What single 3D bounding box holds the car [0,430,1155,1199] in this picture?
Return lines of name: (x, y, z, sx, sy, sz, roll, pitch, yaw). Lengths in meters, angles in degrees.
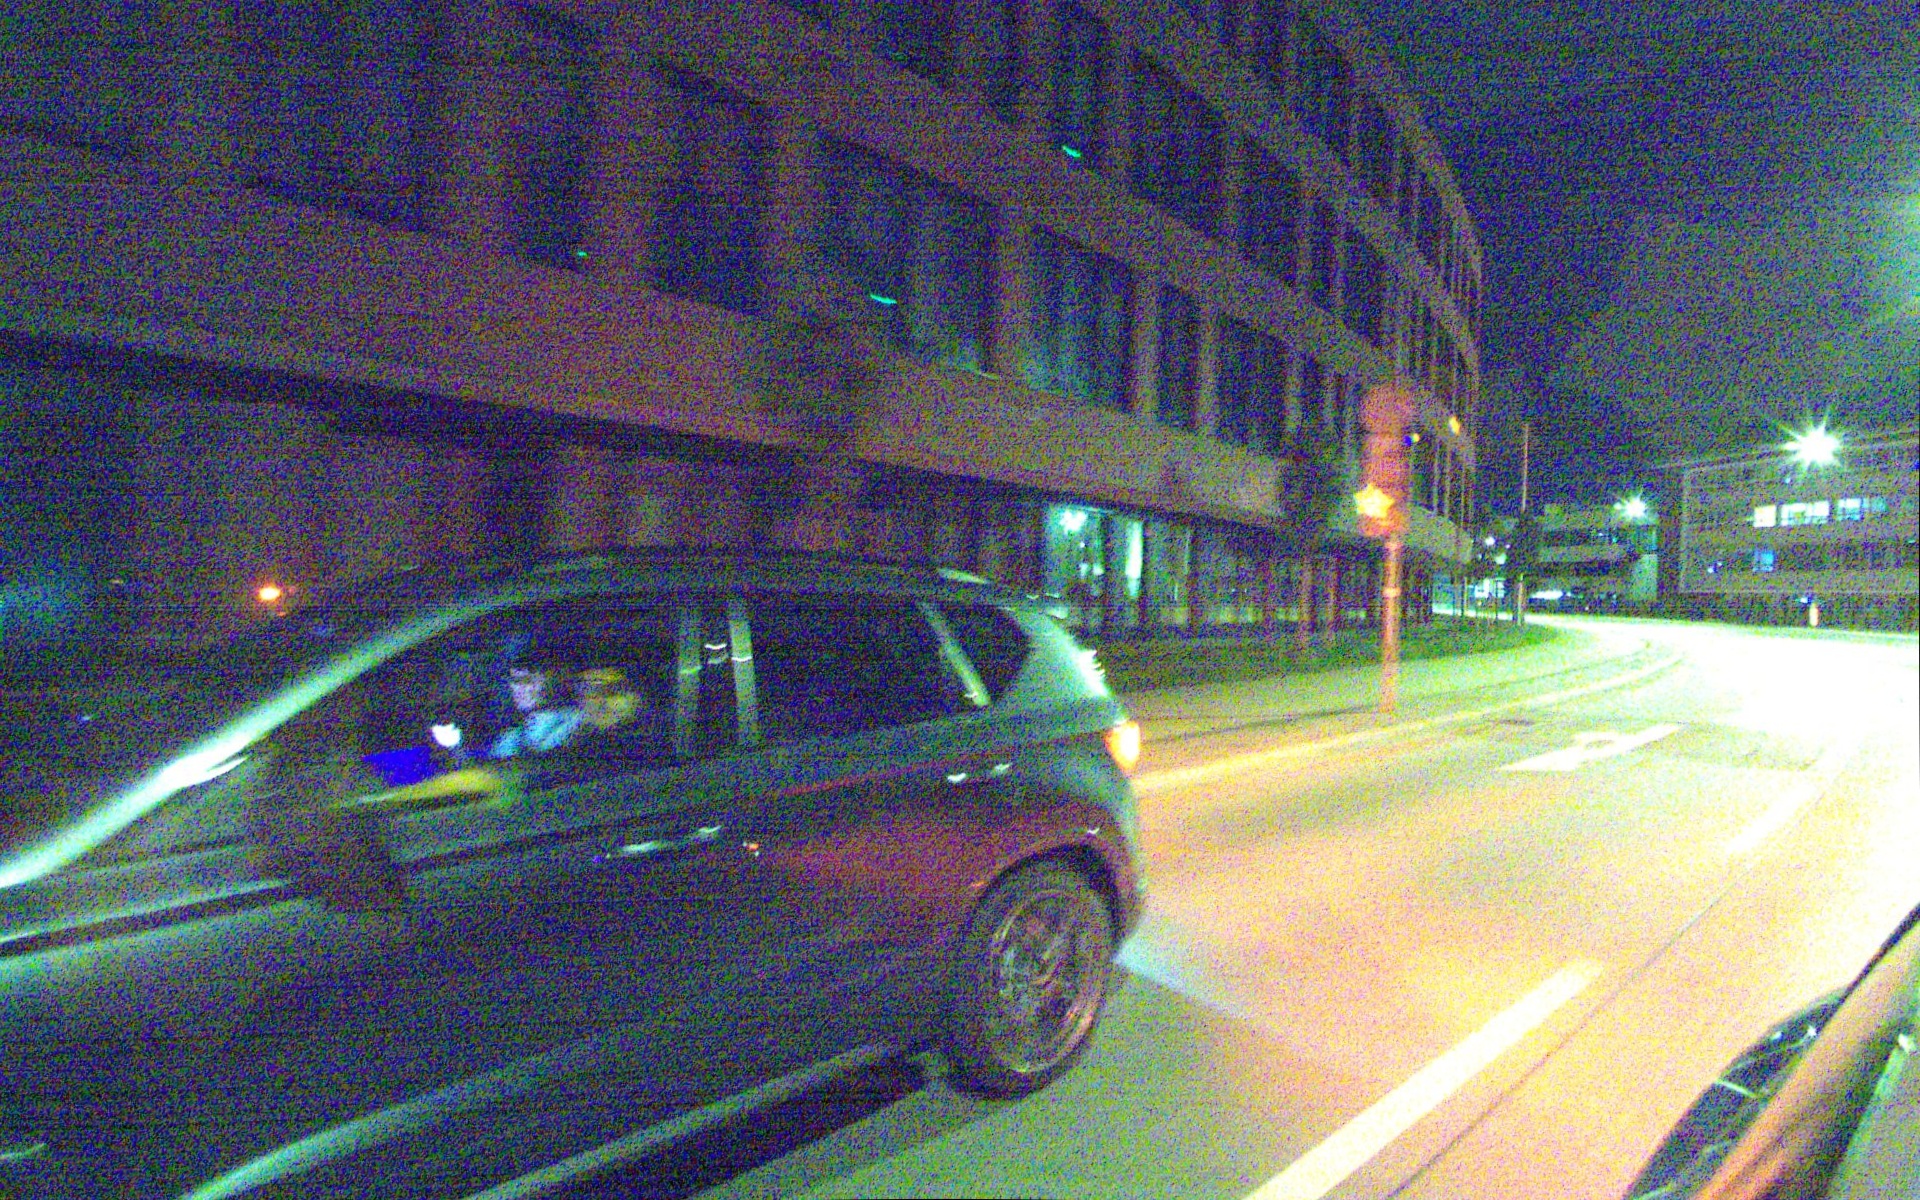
car: (-1.459, 0.556, 2.558, 4.156, 1.631, 1.672, 0, 0, -42)
